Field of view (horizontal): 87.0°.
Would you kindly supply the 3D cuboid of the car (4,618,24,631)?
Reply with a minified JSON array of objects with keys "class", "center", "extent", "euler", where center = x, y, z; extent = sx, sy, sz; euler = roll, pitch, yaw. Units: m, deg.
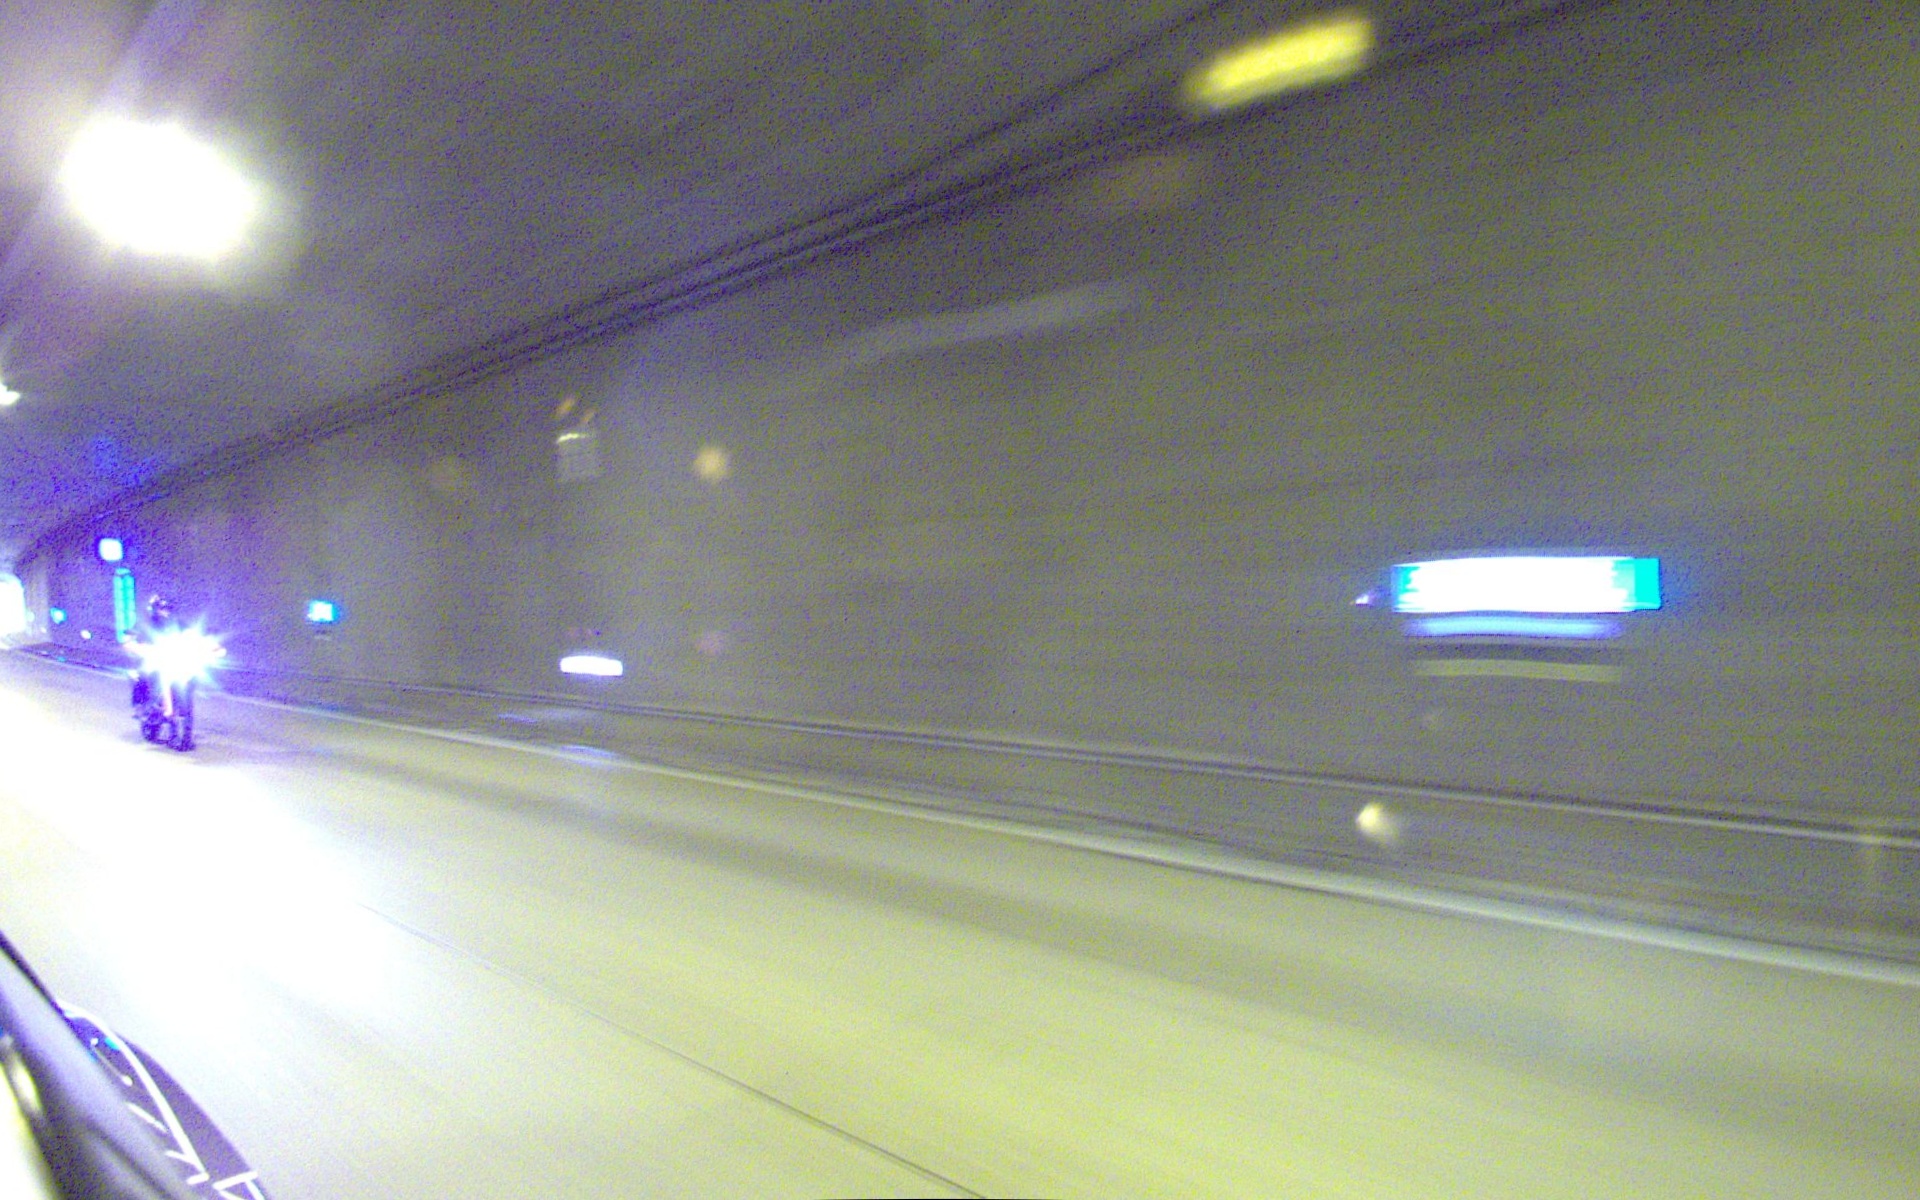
[{"class":"car","center":[-148.378,3.818,158.698],"extent":[1.968,1.812,4.007],"euler":[-2,1,-39]}]

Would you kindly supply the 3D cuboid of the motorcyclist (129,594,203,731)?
[{"class":"motorcyclist","center":[-9.142,0.693,11.641],"extent":[0.619,1.500,0.892],"euler":[0,-1,-42]}]

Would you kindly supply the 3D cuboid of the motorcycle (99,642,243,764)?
[{"class":"motorcycle","center":[-9.006,1.091,11.500],"extent":[1.041,1.166,2.429],"euler":[0,-1,-44]}]
